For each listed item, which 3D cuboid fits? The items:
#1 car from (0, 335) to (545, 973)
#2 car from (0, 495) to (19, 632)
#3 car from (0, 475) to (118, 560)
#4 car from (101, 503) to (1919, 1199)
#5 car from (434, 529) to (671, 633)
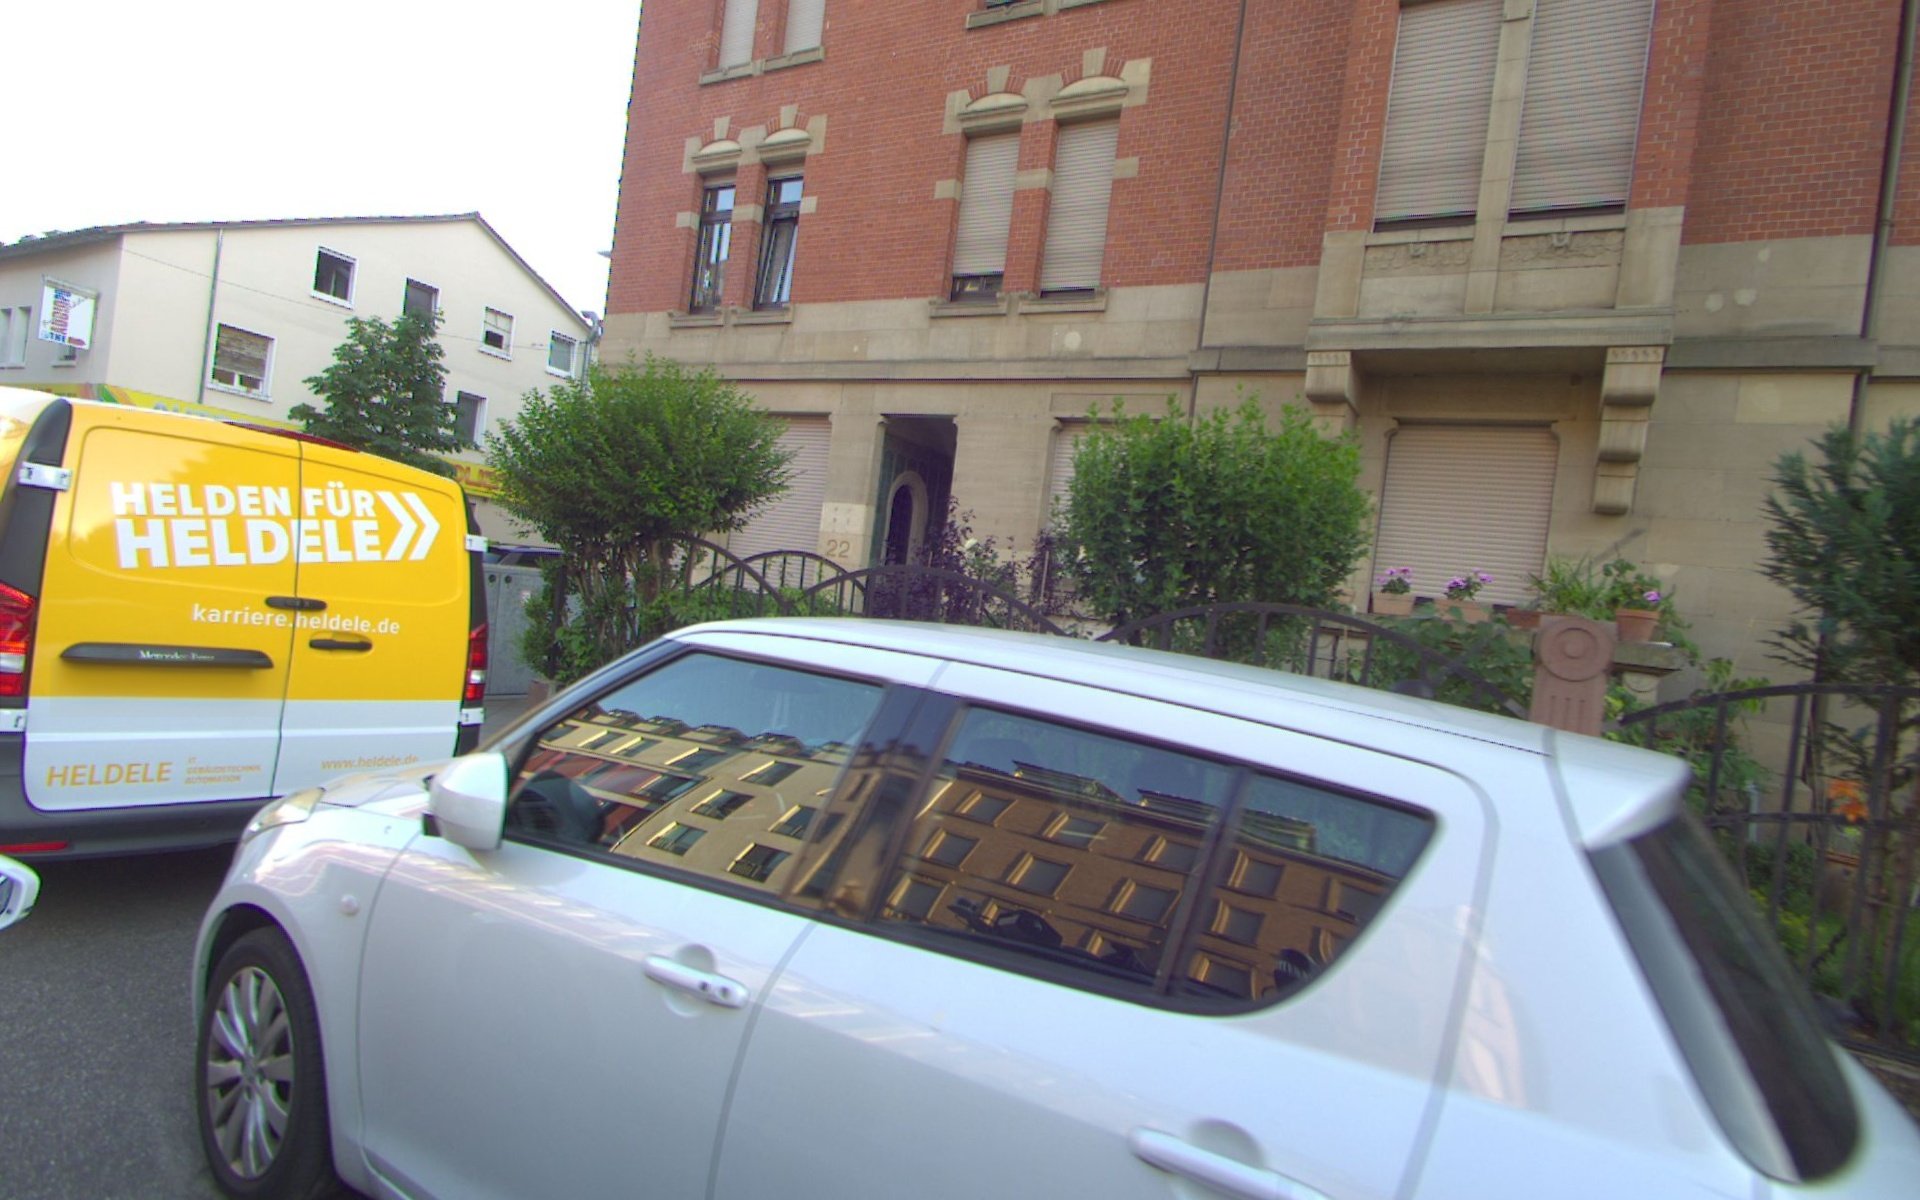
[{"bbox_3d":[-4.583,-0.016,4.976,4.996,1.906,1.897,7,-1,31],"label":"car"},{"bbox_3d":[-9.286,-0.363,7.804,4.182,1.441,1.725,7,-1,31],"label":"car"},{"bbox_3d":[-20.797,-1.897,21.363,1.727,1.534,4.054,10,2,32],"label":"car"},{"bbox_3d":[-0.135,0.767,2.272,3.799,1.494,1.677,7,-1,34],"label":"car"},{"bbox_3d":[-8.464,-0.329,21.311,1.847,1.692,4.326,6,-1,29],"label":"car"}]
